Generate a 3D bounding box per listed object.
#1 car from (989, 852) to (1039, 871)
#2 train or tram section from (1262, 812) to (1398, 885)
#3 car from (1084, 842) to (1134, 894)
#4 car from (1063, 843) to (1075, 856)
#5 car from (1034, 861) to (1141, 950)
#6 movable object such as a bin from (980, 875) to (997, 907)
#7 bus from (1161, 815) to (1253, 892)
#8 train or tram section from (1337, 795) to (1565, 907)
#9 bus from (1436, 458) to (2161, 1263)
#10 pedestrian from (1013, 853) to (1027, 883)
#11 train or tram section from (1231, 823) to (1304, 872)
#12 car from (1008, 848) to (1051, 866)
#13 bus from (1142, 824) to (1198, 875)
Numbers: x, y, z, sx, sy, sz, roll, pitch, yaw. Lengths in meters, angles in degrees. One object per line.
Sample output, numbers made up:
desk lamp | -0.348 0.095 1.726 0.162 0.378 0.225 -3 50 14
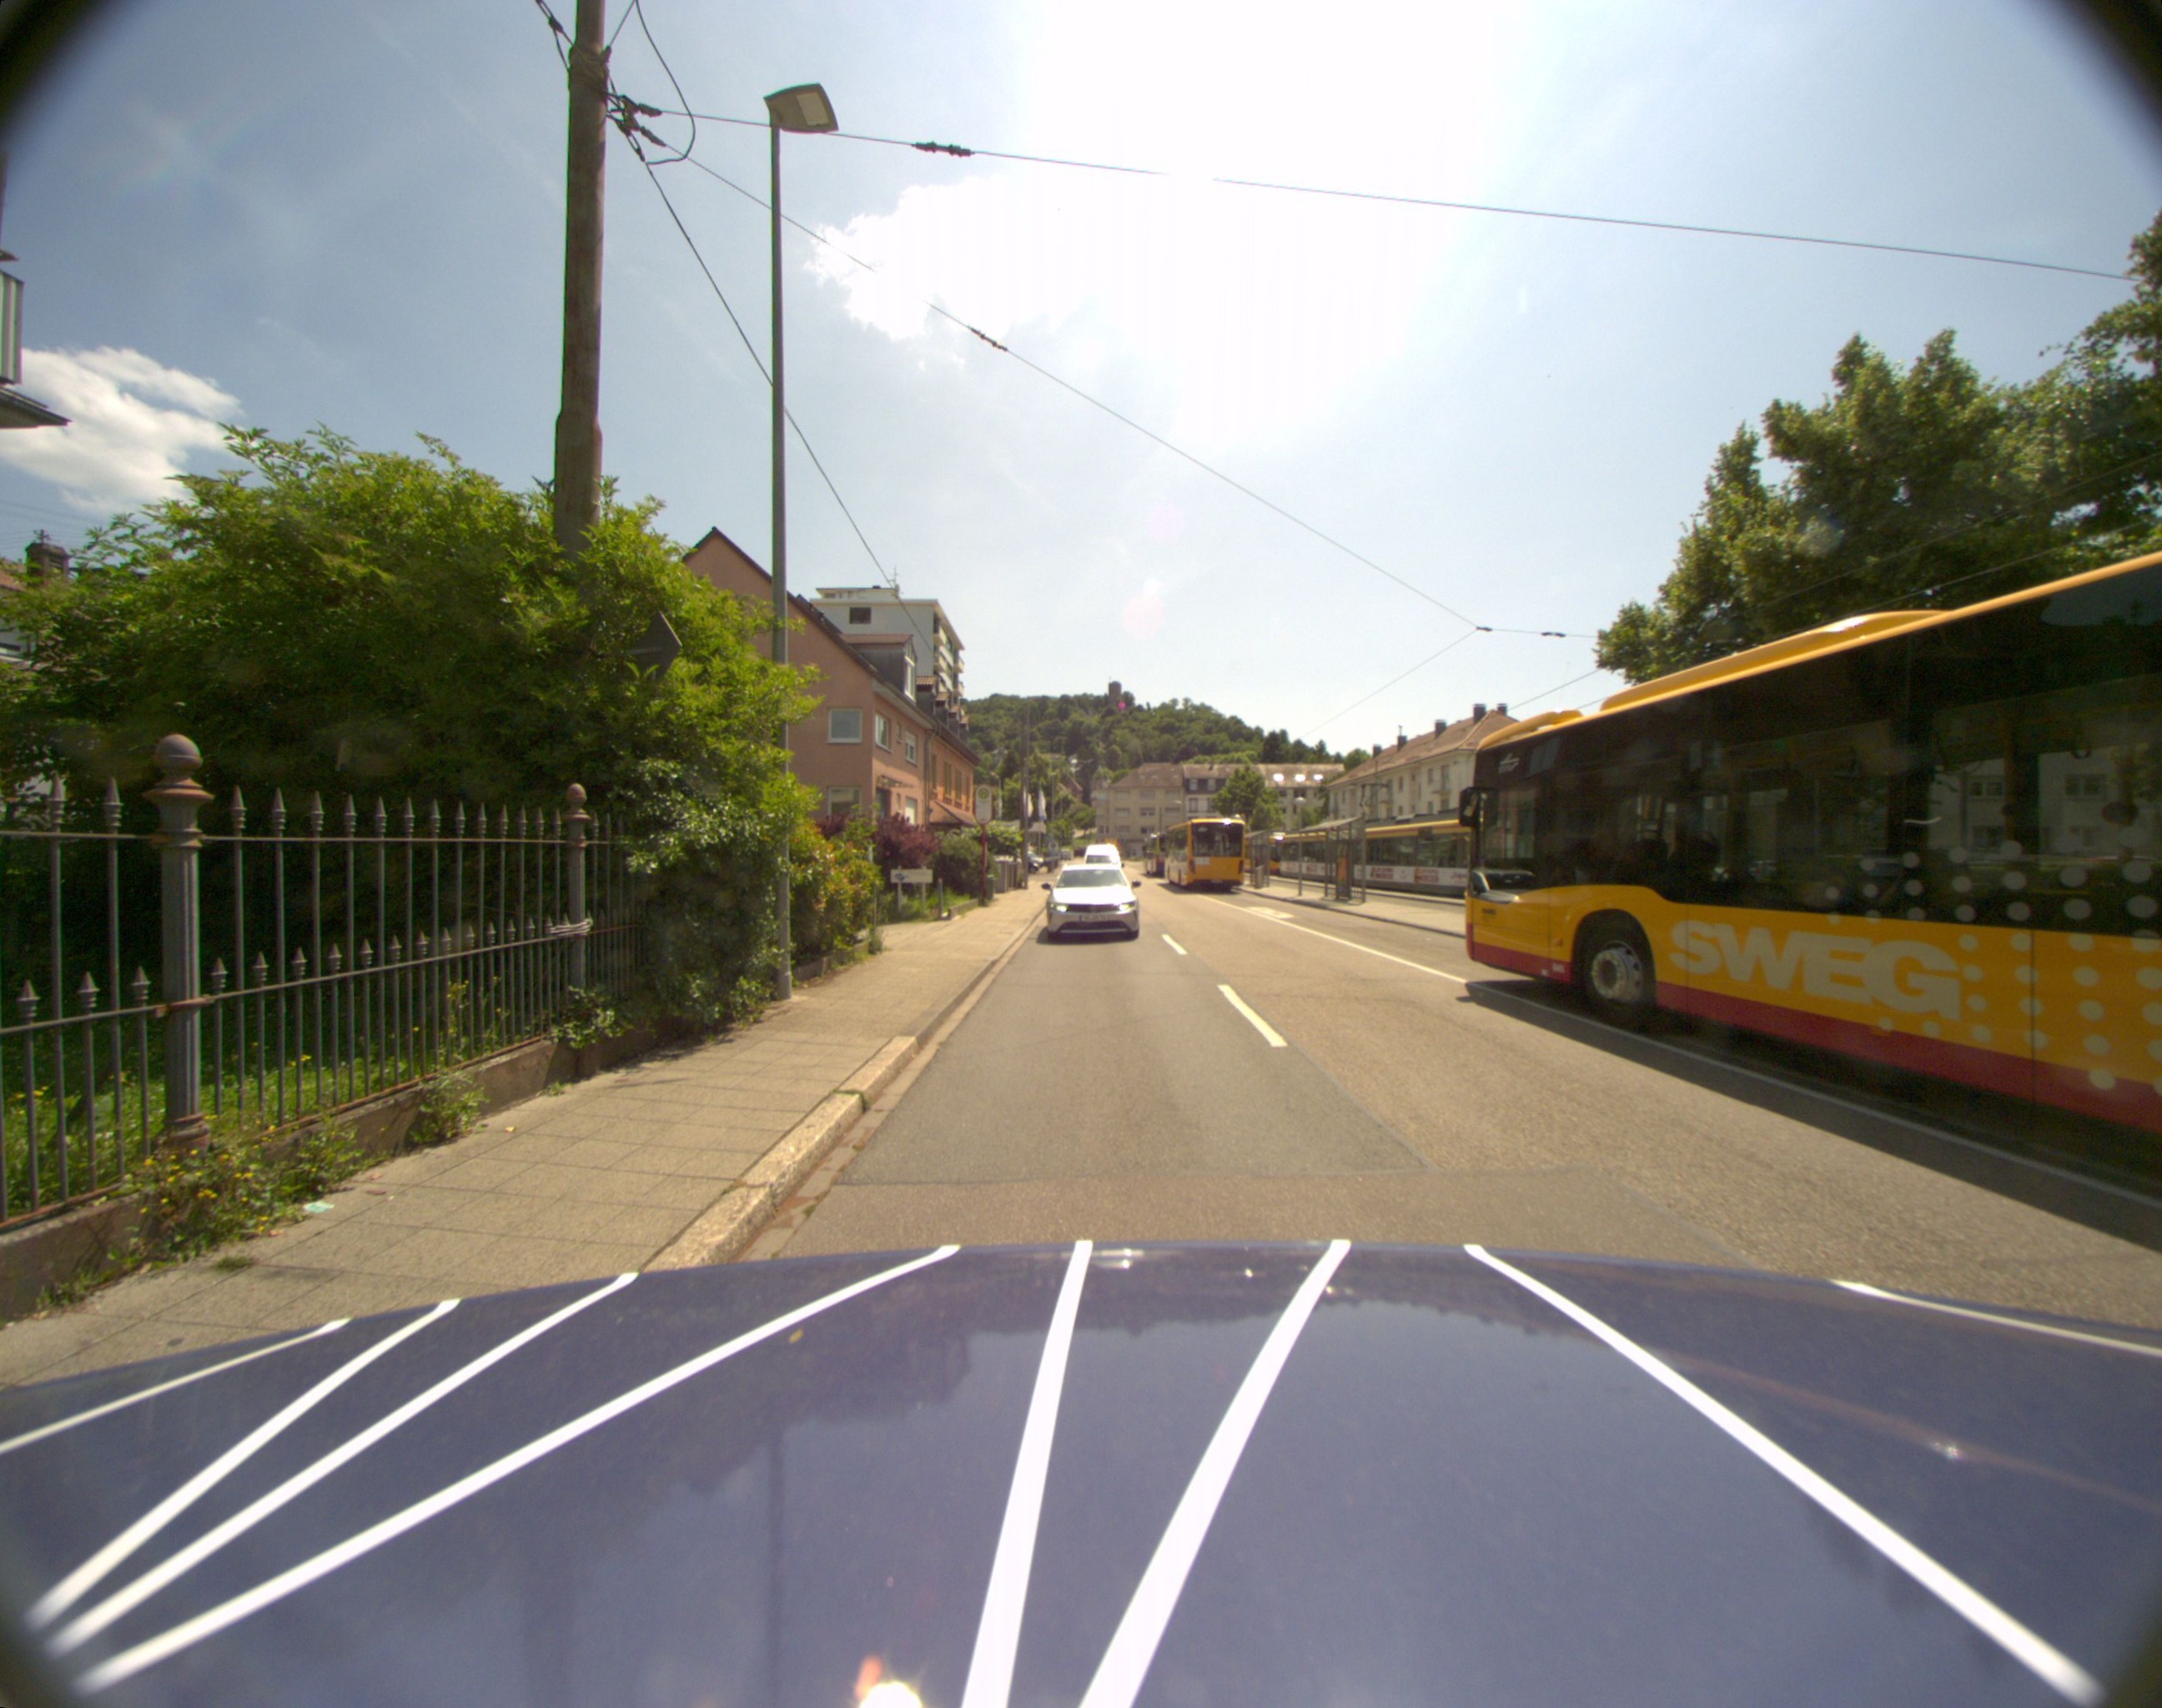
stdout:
car | -5.605 0.603 63.371 3.890 1.534 1.840 0 2 -12
train or tram section | 14.880 -0.404 47.759 2.971 3.622 17.349 -2 1 1
car | 1.323 0.616 37.715 1.999 2.259 5.442 -2 2 -2
car | -1.989 -0.694 120.627 1.708 1.840 4.710 -2 2 -2
car | 0.276 0.901 15.195 1.818 1.371 4.392 -1 1 5
movable object such as a bin | -2.769 1.096 22.739 0.407 0.902 0.729 3 2 -2
bus | 6.140 -0.200 39.291 2.905 3.229 12.193 -2 2 1
train or tram section | 14.667 -0.188 32.276 2.971 3.622 13.992 -2 1 1
bus | 5.790 -0.006 3.205 2.914 3.229 12.116 -2 1 0
pedestrian | -3.353 0.756 41.730 0.707 1.631 0.659 1 -1 -9
train or tram section | 15.051 -0.569 62.517 2.971 3.475 12.655 -2 1 1
car | -5.322 0.297 78.239 4.277 1.780 1.826 -1 2 40
bus | 6.649 -0.283 58.664 2.915 3.407 12.040 -2 0 0
